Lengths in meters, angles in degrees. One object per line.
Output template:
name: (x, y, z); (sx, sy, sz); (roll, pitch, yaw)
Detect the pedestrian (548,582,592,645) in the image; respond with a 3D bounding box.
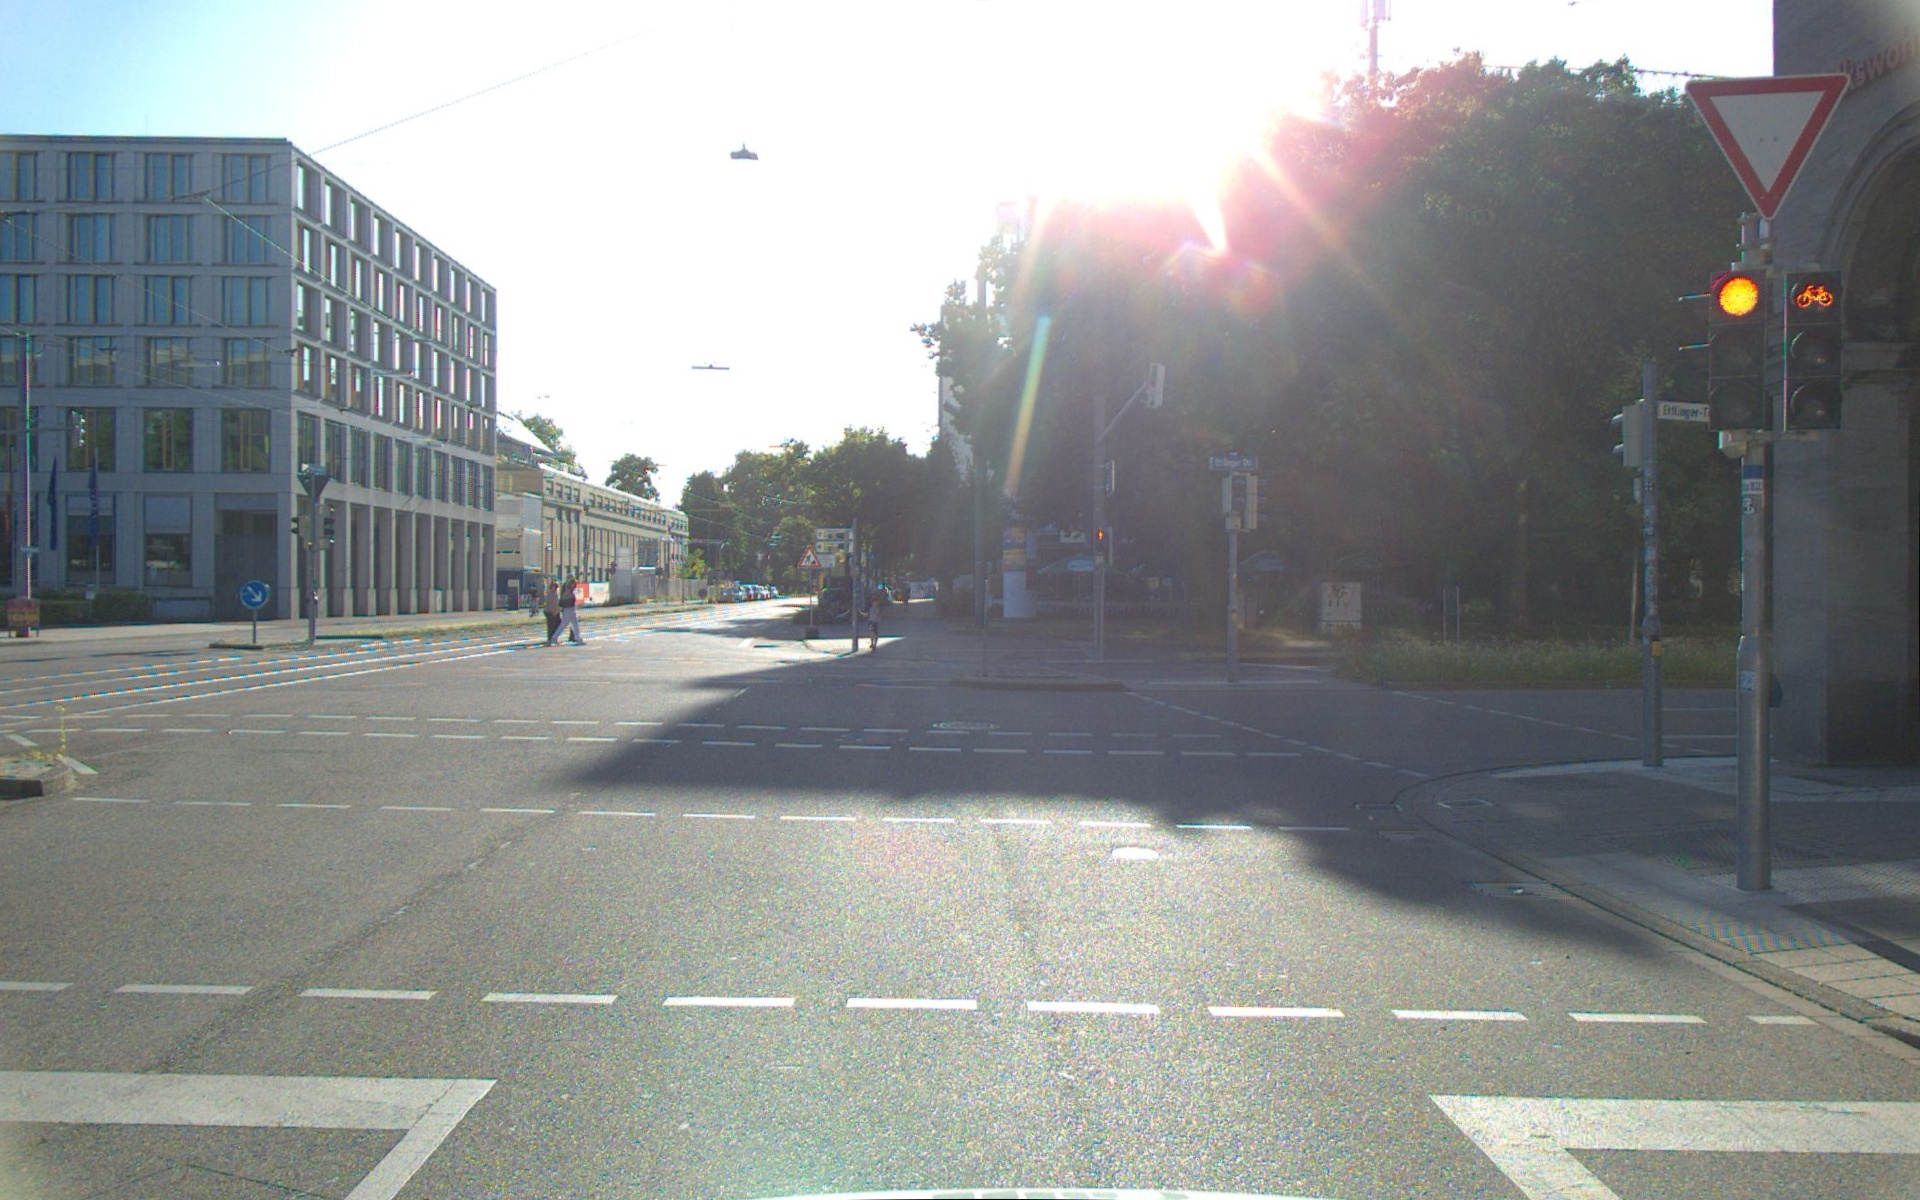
pedestrian: (-10.088, 0.342, 42.768); (0.964, 1.615, 0.660); (0, -1, 1)

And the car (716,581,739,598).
car: (-22.427, -1.011, 159.772); (1.695, 1.682, 3.999); (0, 0, -1)

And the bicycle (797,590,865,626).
bicycle: (-5.226, 0.331, 67.049); (2.688, 1.391, 0.631); (1, -1, 10)

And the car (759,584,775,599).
car: (-22.646, -0.966, 193.949); (1.453, 1.780, 3.999); (0, 0, -1)

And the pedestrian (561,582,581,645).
pedestrian: (-10.490, 0.373, 44.620); (0.432, 1.692, 0.376); (0, 0, -2)

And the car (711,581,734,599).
car: (-22.337, -0.935, 155.697); (1.695, 1.682, 3.999); (0, 0, -1)

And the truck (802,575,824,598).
truck: (-14.203, -1.292, 160.093); (1.876, 2.129, 3.999); (0, 0, -1)

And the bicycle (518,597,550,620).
bicycle: (-22.062, 0.427, 85.802); (0.857, 1.140, 3.013); (0, 0, 0)

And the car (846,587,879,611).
car: (-5.369, -0.054, 91.188); (1.783, 1.301, 3.998); (0, 0, -3)

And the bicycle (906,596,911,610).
bicycle: (-3.143, 0.187, 100.740); (0.317, 0.883, 1.483); (0, 0, -1)

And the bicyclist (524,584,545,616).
bicyclist: (-22.062, -0.016, 85.851); (0.857, 1.670, 0.822); (0, 0, 0)

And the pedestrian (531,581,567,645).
pedestrian: (-10.842, 0.334, 43.656); (0.779, 1.668, 0.533); (0, 0, 2)

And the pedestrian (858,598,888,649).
pedestrian: (-2.341, 0.621, 44.468); (0.737, 1.356, 0.742); (0, 0, 0)

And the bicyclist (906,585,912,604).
bicyclist: (-3.117, -0.327, 100.787); (0.312, 1.147, 0.291); (0, 0, -1)
